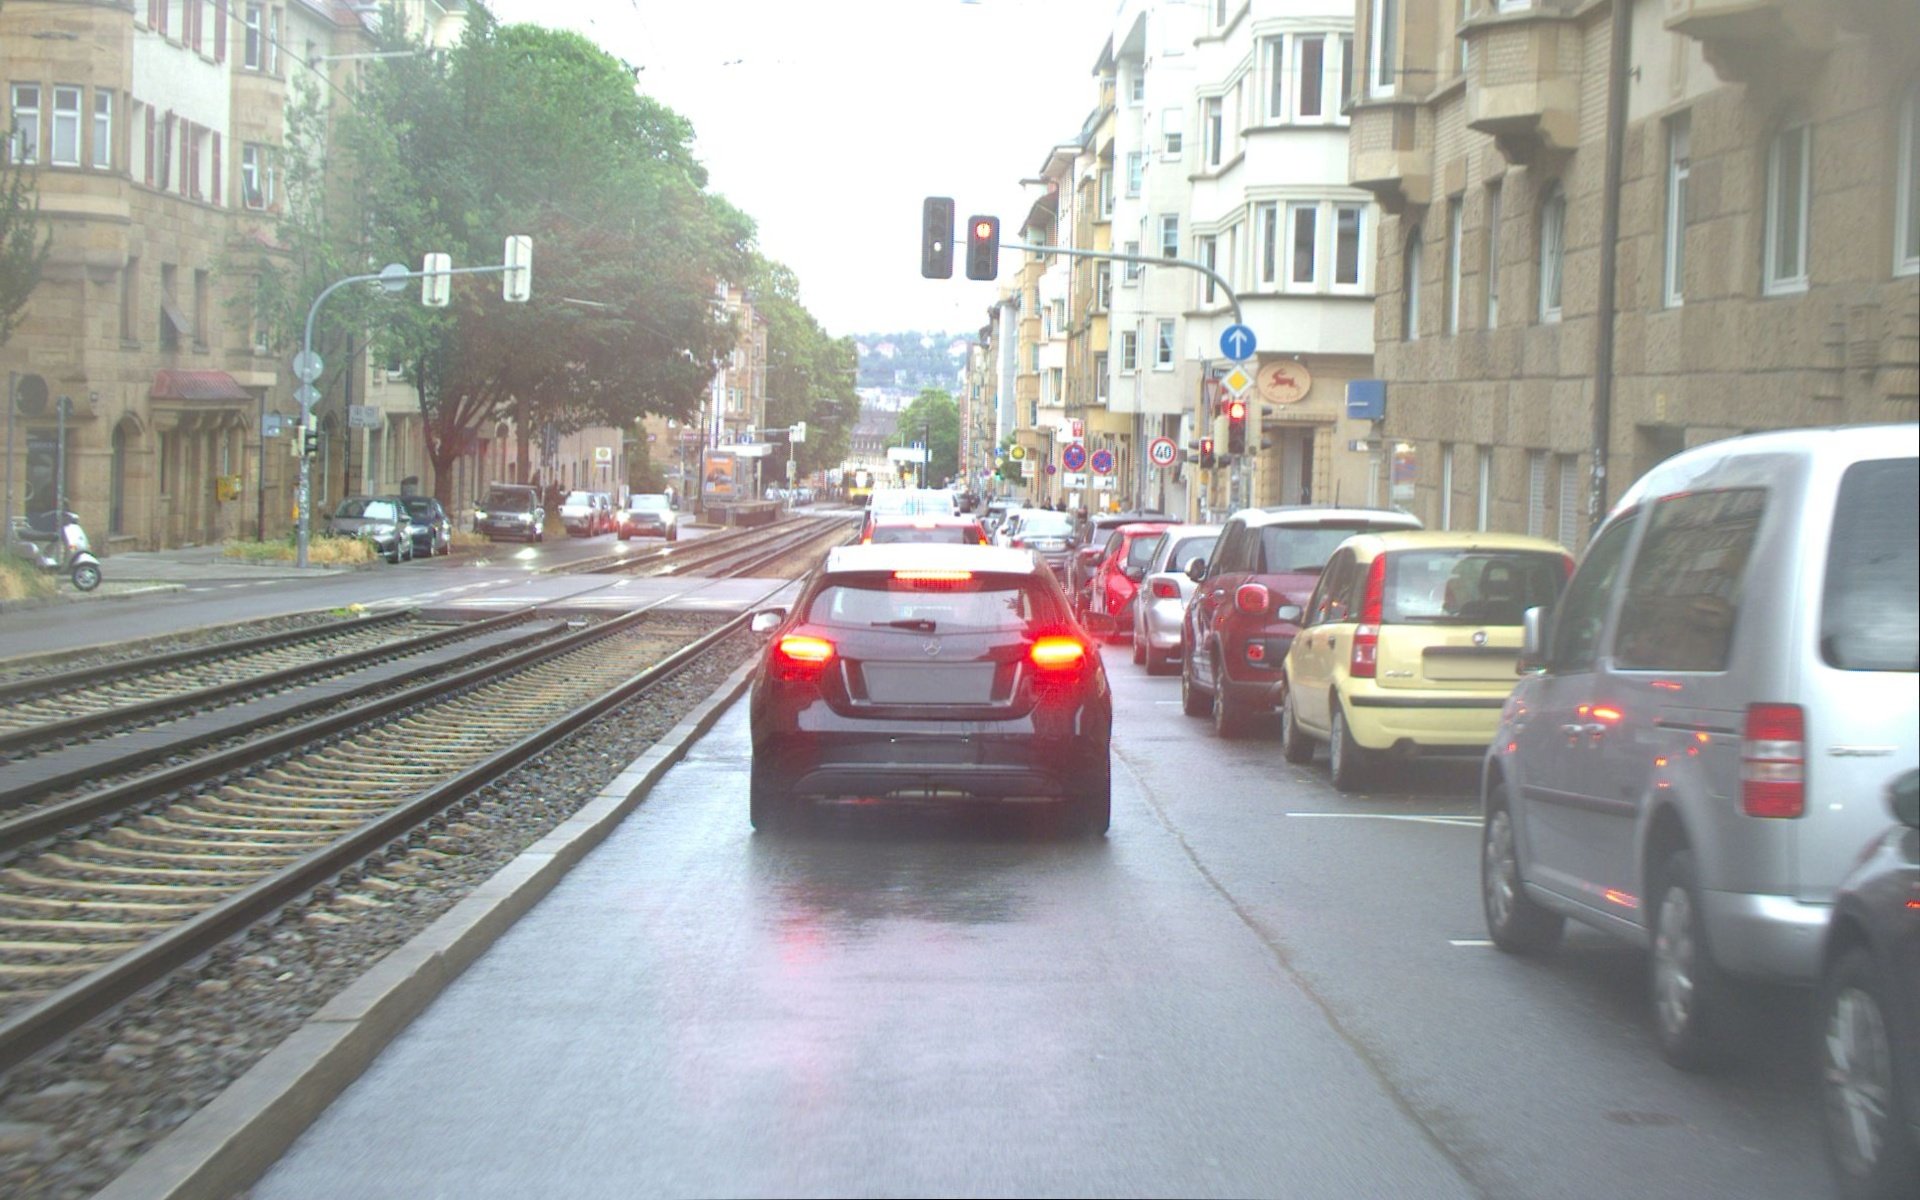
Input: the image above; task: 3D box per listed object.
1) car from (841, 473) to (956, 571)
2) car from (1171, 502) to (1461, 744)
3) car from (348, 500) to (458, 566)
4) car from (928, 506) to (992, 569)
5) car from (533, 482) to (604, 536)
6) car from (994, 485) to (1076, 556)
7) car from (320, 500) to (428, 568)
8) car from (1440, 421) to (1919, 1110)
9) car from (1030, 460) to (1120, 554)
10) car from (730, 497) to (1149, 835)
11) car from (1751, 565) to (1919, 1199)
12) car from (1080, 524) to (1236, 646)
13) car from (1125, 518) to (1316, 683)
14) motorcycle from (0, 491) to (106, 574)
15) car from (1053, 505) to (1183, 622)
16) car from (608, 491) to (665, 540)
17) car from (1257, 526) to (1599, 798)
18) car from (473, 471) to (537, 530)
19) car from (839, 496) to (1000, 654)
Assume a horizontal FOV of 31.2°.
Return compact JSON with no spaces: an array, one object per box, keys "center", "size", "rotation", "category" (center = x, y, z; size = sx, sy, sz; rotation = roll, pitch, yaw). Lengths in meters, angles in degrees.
[{"center":[-1.141,-1.407,61.881],"size":[1.921,1.649,4.001],"rotation":[2,1,-3],"category":"car"},{"center":[2.607,0.122,25.990],"size":[1.710,1.623,4.000],"rotation":[2,1,0],"category":"car"},{"center":[-13.459,-1.622,83.246],"size":[1.993,1.512,4.000],"rotation":[2,1,0],"category":"car"},{"center":[-0.015,-1.862,103.015],"size":[1.852,1.791,3.812],"rotation":[1,0,0],"category":"car"},{"center":[-13.803,-3.188,121.430],"size":[1.993,1.787,4.000],"rotation":[2,1,0],"category":"car"},{"center":[1.970,-2.081,91.373],"size":[1.768,1.770,4.000],"rotation":[1,0,-4],"category":"car"},{"center":[-13.253,-1.475,77.925],"size":[1.771,1.459,4.000],"rotation":[1,1,0],"category":"car"},{"center":[2.768,0.393,11.054],"size":[1.774,1.770,4.361],"rotation":[1,1,0],"category":"car"},{"center":[2.627,-2.126,79.508],"size":[1.898,2.021,4.176],"rotation":[1,0,0],"category":"car"},{"center":[-0.149,0.298,17.999],"size":[1.946,1.559,3.643],"rotation":[1,0,-2],"category":"car"},{"center":[2.966,0.675,6.300],"size":[1.993,1.436,4.000],"rotation":[1,1,-1],"category":"car"},{"center":[2.424,-0.214,42.656],"size":[1.602,1.414,3.149],"rotation":[2,1,-2],"category":"car"},{"center":[2.631,-0.037,35.346],"size":[1.638,1.537,3.466],"rotation":[2,2,0],"category":"car"},{"center":[-13.115,-0.977,49.667],"size":[1.439,1.130,0.619],"rotation":[3,1,29],"category":"motorcycle"},{"center":[2.174,-0.524,48.149],"size":[1.549,1.503,4.000],"rotation":[2,1,0],"category":"car"},{"center":[-10.636,-2.774,113.209],"size":[1.795,1.543,4.001],"rotation":[-1,1,-4],"category":"car"},{"center":[2.802,0.319,21.217],"size":[1.559,1.473,3.461],"rotation":[2,1,0],"category":"car"},{"center":[-13.748,-3.004,104.083],"size":[1.789,1.685,4.001],"rotation":[2,1,-6],"category":"car"},{"center":[-0.410,-0.267,36.080],"size":[1.536,1.505,4.000],"rotation":[2,1,0],"category":"car"}]
